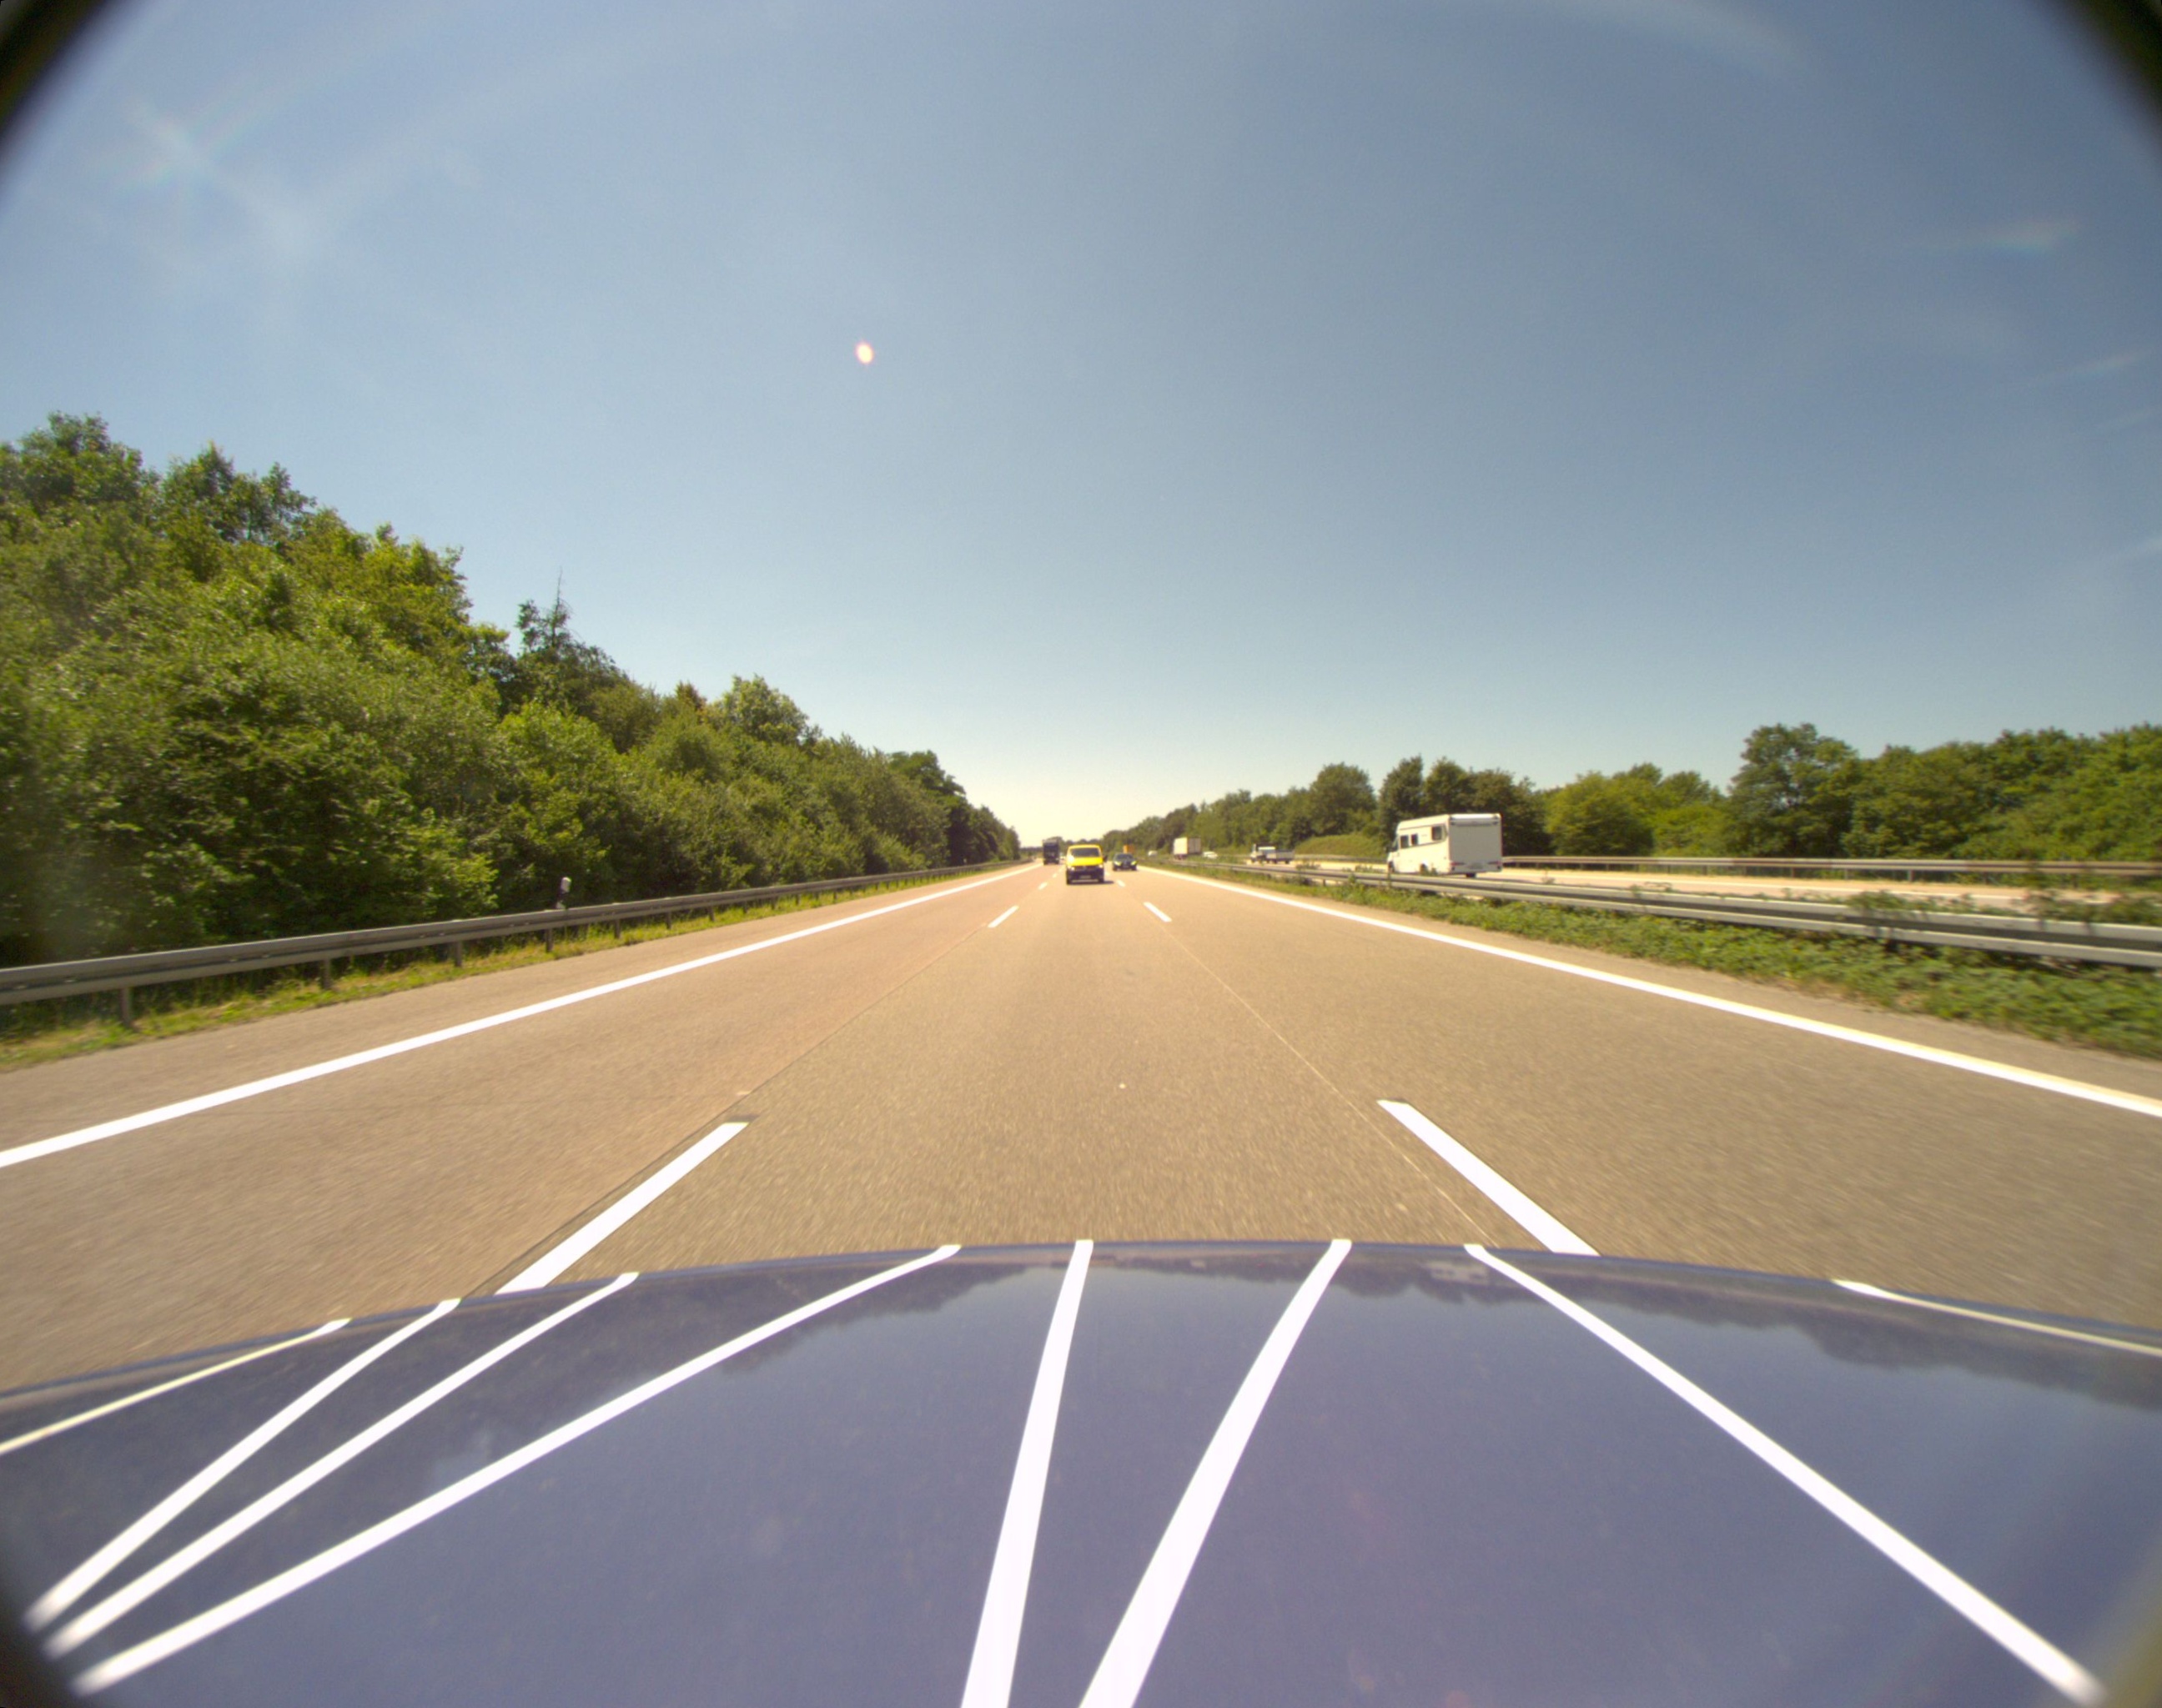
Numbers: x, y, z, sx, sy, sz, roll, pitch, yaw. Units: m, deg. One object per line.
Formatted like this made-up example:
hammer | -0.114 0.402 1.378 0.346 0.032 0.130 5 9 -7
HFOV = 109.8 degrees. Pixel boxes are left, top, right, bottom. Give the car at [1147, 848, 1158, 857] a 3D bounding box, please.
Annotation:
car | 15.083 -0.343 160.903 1.820 1.865 4.877 -2 0 -1

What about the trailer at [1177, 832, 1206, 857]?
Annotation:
trailer | 20.341 -1.709 141.080 3.320 4.336 13.586 -2 0 0

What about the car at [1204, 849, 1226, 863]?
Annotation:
car | 16.184 0.227 91.903 1.817 1.586 5.009 -1 0 0

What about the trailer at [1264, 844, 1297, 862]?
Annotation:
trailer | 20.713 -0.127 79.142 2.033 1.825 4.989 -1 0 0

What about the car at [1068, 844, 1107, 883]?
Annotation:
car | 0.278 0.452 38.362 1.777 1.882 3.831 -1 0 -2

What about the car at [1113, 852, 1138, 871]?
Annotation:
car | 3.610 0.591 62.580 1.726 1.478 3.999 -2 0 -1

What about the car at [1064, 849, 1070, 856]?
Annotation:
car | -4.534 -0.527 245.616 1.999 2.002 3.999 -1 0 -1

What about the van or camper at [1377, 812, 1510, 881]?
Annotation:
van or camper | 16.670 -0.339 35.701 2.519 2.833 8.026 -1 0 1

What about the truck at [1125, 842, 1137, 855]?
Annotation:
truck | 15.571 -1.730 237.435 2.757 4.017 10.789 -2 1 -1

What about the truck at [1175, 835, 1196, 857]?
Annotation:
truck | 20.328 -1.557 148.156 3.269 3.928 6.100 -2 1 0

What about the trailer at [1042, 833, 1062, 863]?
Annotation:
trailer | -4.905 -0.899 126.922 2.909 4.630 13.982 -2 0 -2

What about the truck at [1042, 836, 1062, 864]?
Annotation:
truck | -4.576 -0.691 119.592 2.916 4.231 4.973 -2 1 -2

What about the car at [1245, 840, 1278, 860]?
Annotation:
car | 20.657 -0.505 87.483 2.249 2.160 6.540 -1 0 0
